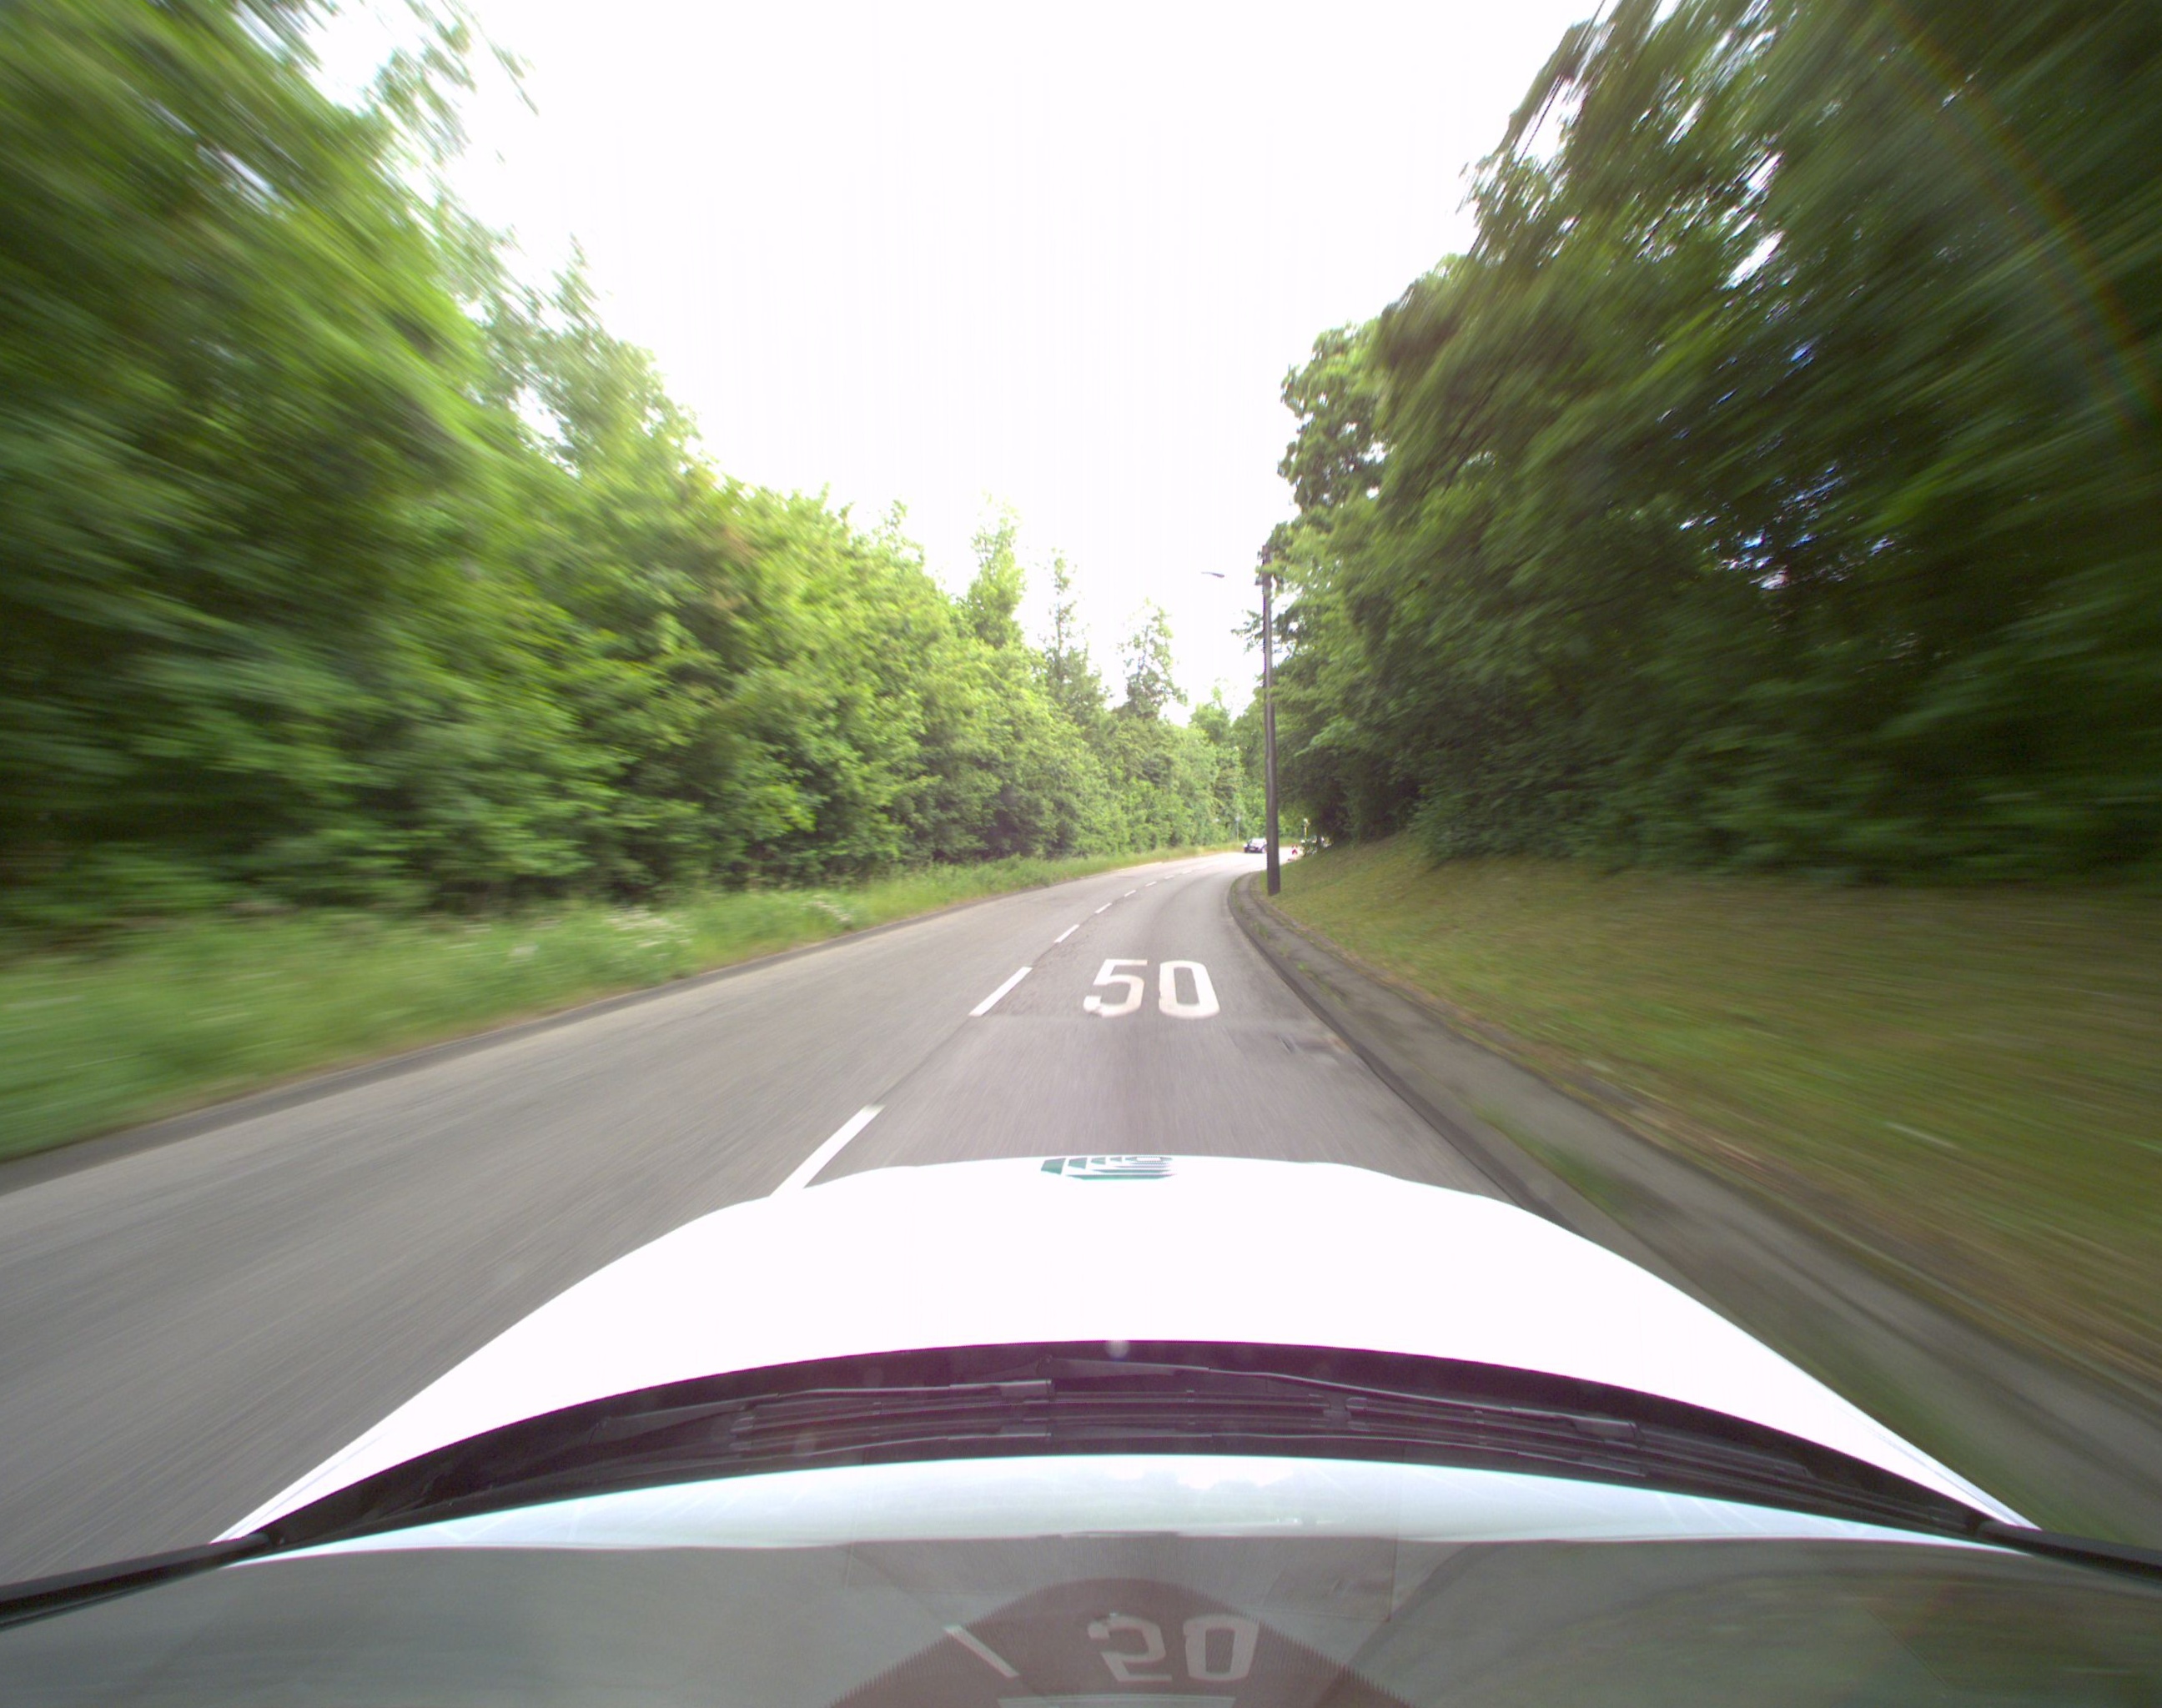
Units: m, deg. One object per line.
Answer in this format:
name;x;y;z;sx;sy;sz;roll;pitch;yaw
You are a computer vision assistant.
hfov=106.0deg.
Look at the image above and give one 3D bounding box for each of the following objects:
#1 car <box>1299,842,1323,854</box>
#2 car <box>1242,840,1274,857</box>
car;28.435;-0.713;100.448;1.881;1.354;4.871;3;2;27
car;16.883;-0.537;77.485;1.786;1.434;4.688;2;1;27
